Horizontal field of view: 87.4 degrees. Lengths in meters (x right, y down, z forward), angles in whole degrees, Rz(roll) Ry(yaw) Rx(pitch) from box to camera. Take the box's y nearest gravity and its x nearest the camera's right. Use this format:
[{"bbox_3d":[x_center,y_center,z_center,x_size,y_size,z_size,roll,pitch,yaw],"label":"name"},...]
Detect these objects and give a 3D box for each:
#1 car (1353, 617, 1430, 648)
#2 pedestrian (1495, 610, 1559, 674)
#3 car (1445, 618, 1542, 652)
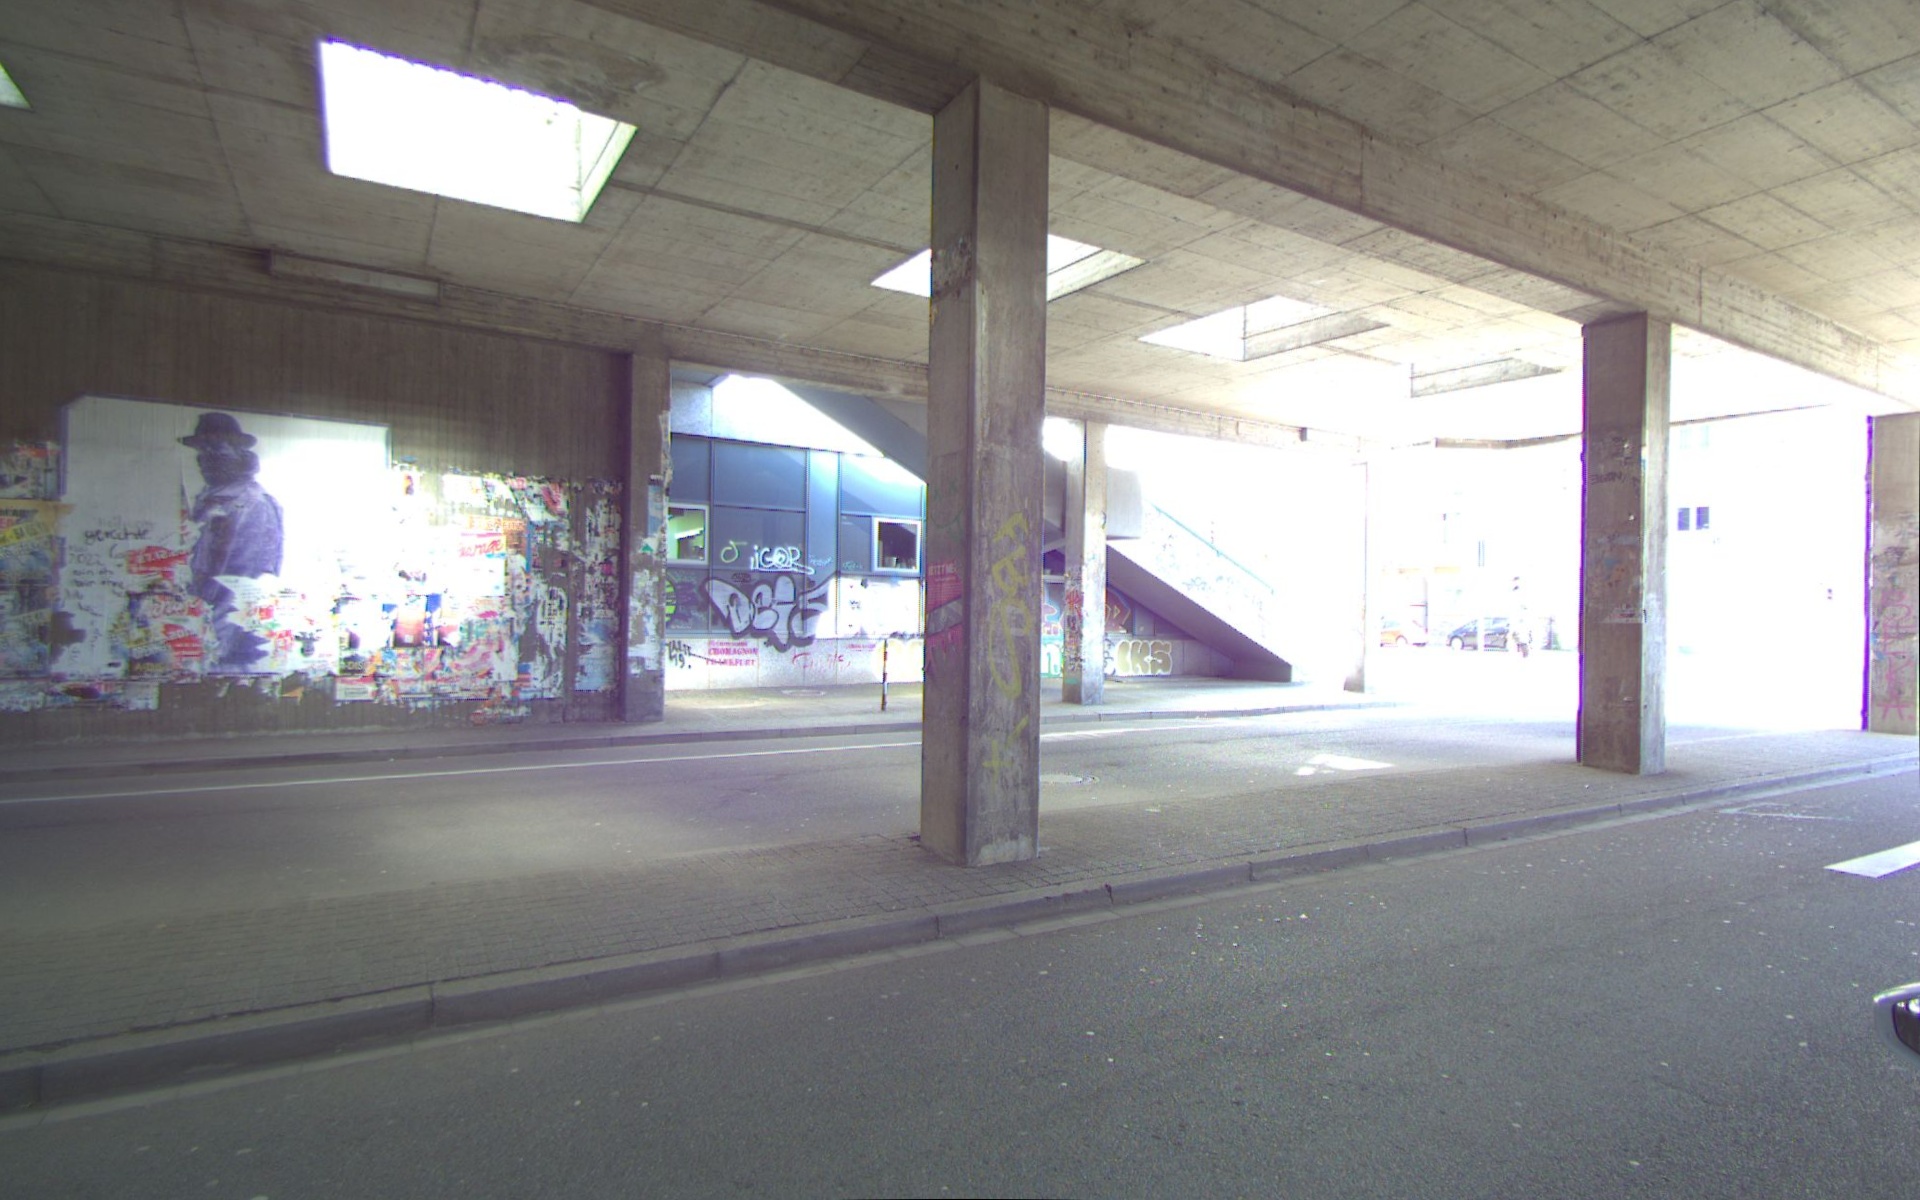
[{"bbox_3d":[22.489,1.696,52.473,1.543,1.526,3.518,1,-1,-29],"label":"car"},{"bbox_3d":[16.010,1.163,28.367,1.123,1.760,1.111,1,-1,-17],"label":"pedestrian"},{"bbox_3d":[25.354,1.652,47.845,1.732,1.528,3.735,1,-1,-31],"label":"car"}]
